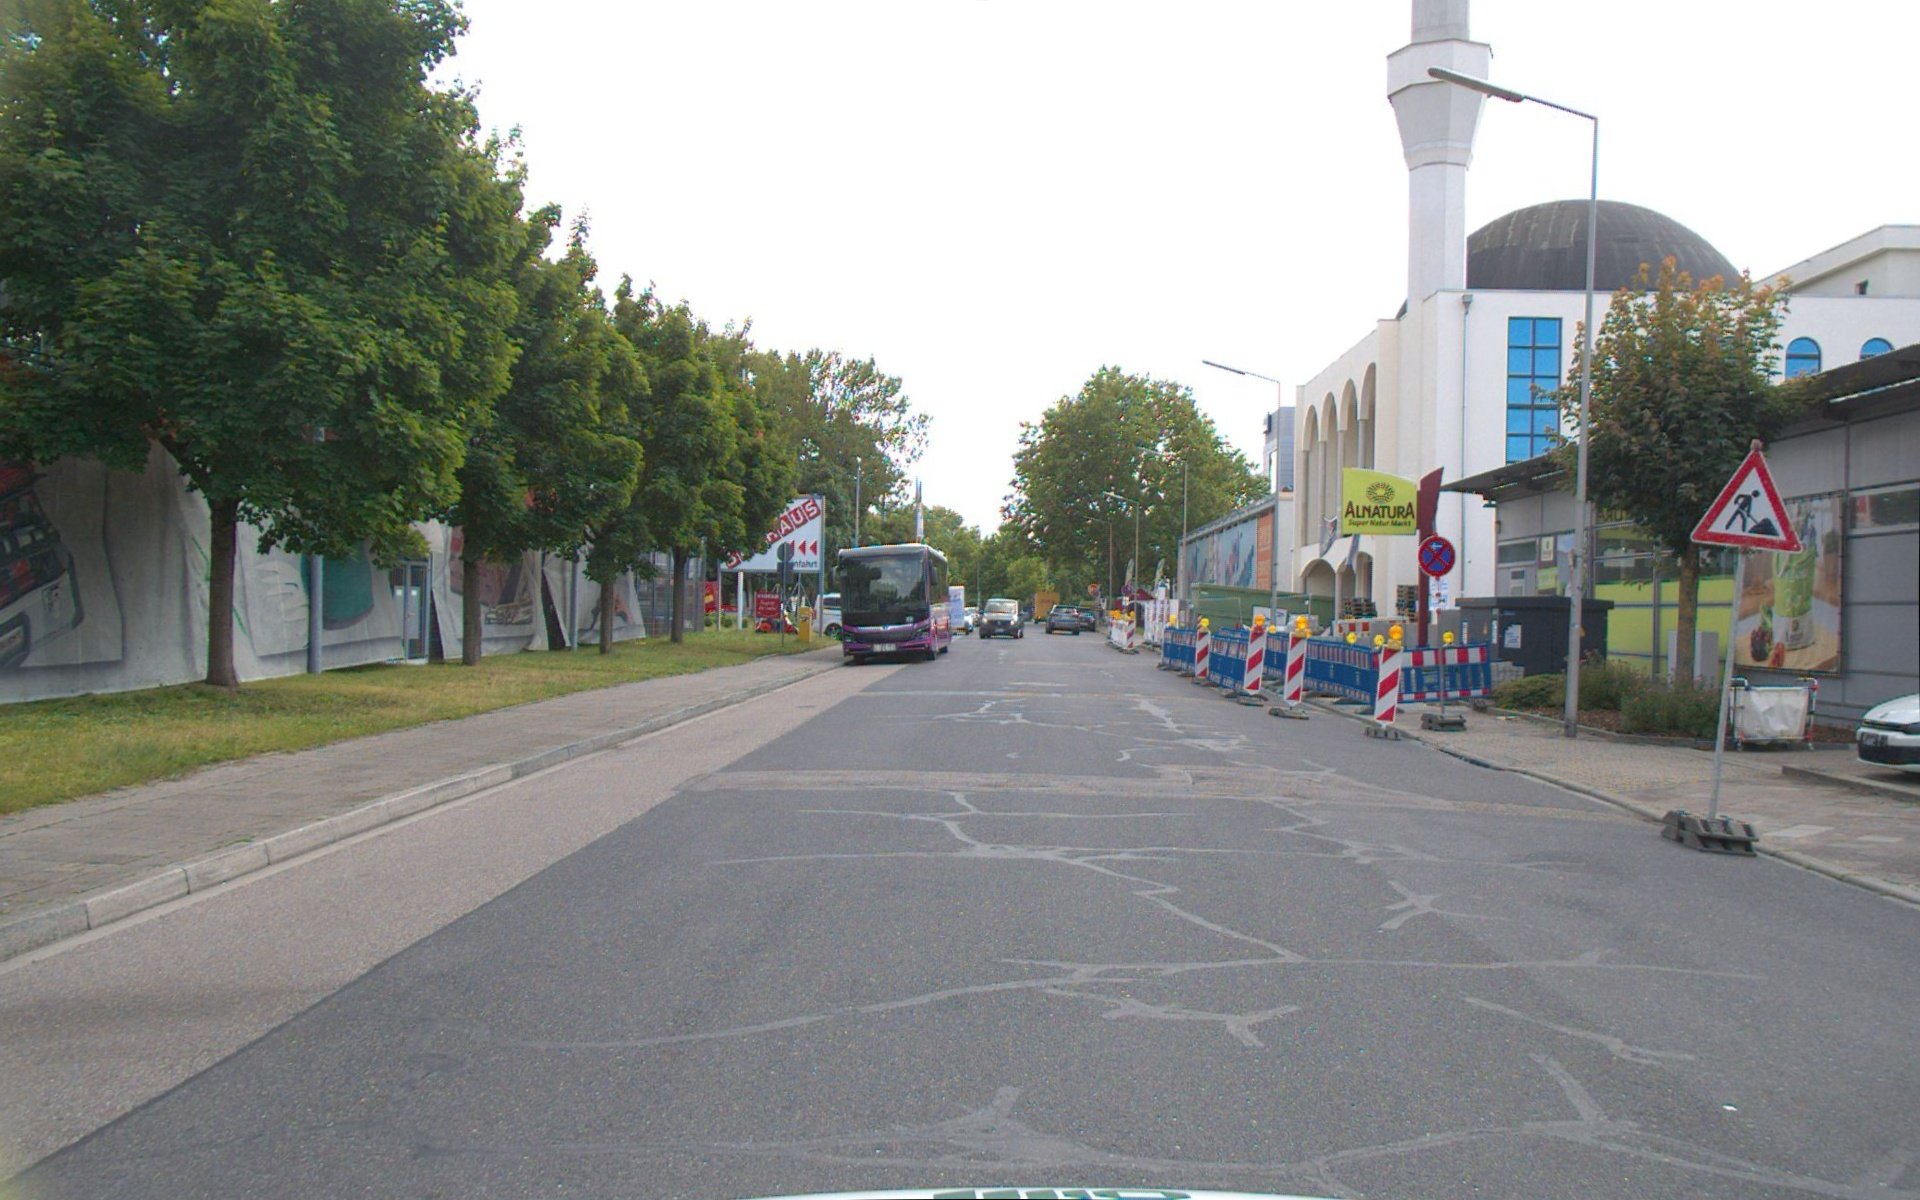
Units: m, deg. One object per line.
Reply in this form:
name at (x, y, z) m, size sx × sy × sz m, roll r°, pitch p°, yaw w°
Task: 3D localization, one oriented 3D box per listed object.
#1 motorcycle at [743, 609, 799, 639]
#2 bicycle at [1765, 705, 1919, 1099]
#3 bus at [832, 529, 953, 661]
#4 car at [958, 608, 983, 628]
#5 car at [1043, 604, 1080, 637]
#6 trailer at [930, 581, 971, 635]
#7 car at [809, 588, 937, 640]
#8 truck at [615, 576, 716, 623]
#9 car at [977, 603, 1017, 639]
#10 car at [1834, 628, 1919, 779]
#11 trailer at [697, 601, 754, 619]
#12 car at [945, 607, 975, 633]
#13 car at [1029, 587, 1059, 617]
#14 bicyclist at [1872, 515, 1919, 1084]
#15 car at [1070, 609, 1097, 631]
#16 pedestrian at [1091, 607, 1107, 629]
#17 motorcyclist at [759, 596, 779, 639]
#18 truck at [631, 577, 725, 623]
motorcycle at (-7.800, 0.985, 68.396) m, size 2.175 × 1.235 × 0.995 m, roll 1°, pitch 0°, yaw 3°
bicycle at (3.479, 1.011, 5.039) m, size 0.781 × 1.201 × 2.627 m, roll 3°, pitch -1°, yaw 1°
bus at (-1.872, -0.111, 51.573) m, size 2.608 × 3.482 × 13.221 m, roll -2°, pitch 0°, yaw 2°
car at (0.825, 1.348, 126.976) m, size 1.674 × 1.445 × 4.333 m, roll -1°, pitch 0°, yaw 3°
car at (6.001, 1.186, 98.498) m, size 1.922 × 1.847 × 4.275 m, roll 1°, pitch 0°, yaw 0°
trailer at (-0.494, 0.443, 91.416) m, size 2.095 × 2.832 × 4.704 m, roll -1°, pitch 0°, yaw 2°
car at (-3.547, 0.550, 67.778) m, size 4.894 × 1.983 × 1.994 m, roll 1°, pitch 0°, yaw 8°
truck at (-17.775, -0.025, 100.006) m, size 5.634 × 2.639 × 1.816 m, roll 1°, pitch -2°, yaw 4°
car at (1.788, 0.974, 80.041) m, size 1.830 × 1.658 × 4.128 m, roll 1°, pitch 0°, yaw 1°
car at (11.616, 1.045, 17.202) m, size 4.019 × 1.489 × 1.989 m, roll 0°, pitch 0°, yaw -1°
trailer at (-17.014, 0.704, 119.844) m, size 3.736 × 1.211 × 1.716 m, roll 1°, pitch 0°, yaw 8°
car at (0.010, 1.205, 102.186) m, size 1.729 × 1.505 × 4.235 m, roll -1°, pitch 0°, yaw 1°
car at (7.755, 0.173, 153.072) m, size 2.155 × 2.623 × 6.401 m, roll 1°, pitch 0°, yaw -2°
bicyclist at (3.489, 0.648, 4.952) m, size 0.790 × 1.824 × 1.207 m, roll 3°, pitch -1°, yaw 1°
car at (8.673, 1.405, 116.713) m, size 1.770 × 1.415 × 4.590 m, roll 4°, pitch 0°, yaw 3°
pedestrian at (12.127, 1.591, 144.389) m, size 0.984 × 1.882 × 1.224 m, roll 2°, pitch -1°, yaw -16°
motorcyclist at (-7.896, 0.721, 68.396) m, size 0.660 × 1.753 × 0.995 m, roll 1°, pitch 0°, yaw 3°
truck at (-17.545, 0.012, 103.108) m, size 5.432 × 2.639 × 1.780 m, roll 1°, pitch -2°, yaw 3°
